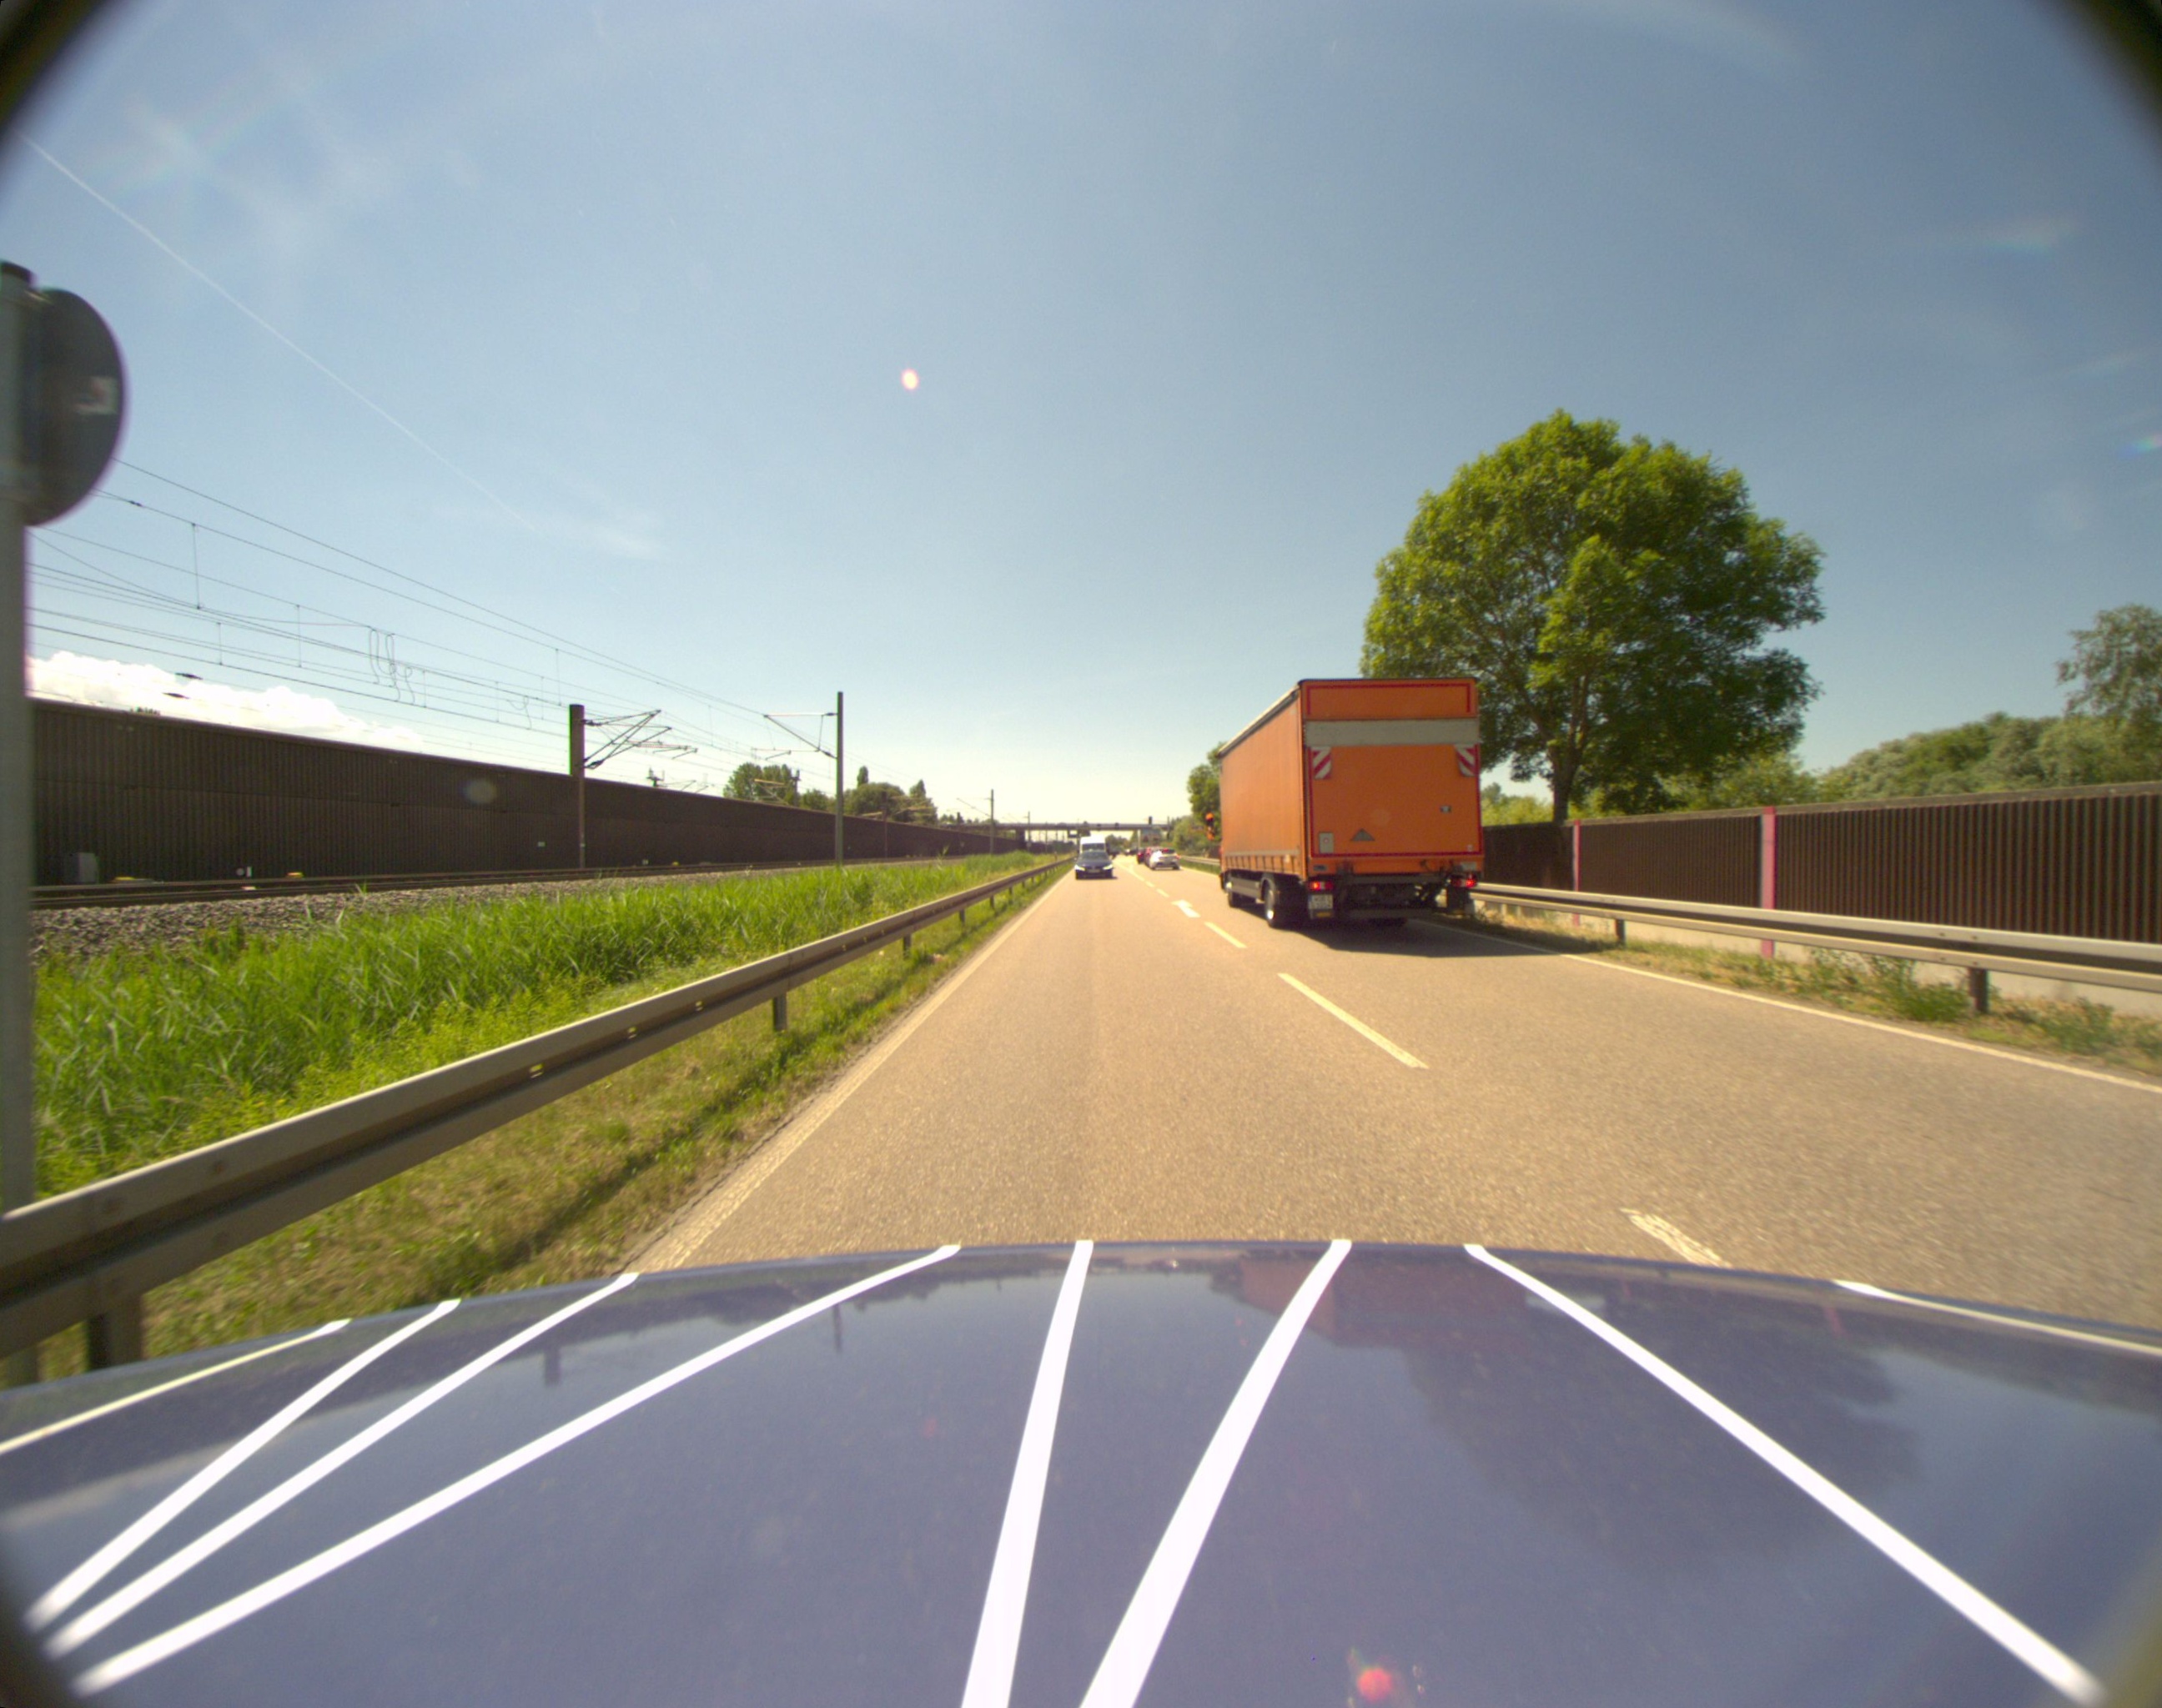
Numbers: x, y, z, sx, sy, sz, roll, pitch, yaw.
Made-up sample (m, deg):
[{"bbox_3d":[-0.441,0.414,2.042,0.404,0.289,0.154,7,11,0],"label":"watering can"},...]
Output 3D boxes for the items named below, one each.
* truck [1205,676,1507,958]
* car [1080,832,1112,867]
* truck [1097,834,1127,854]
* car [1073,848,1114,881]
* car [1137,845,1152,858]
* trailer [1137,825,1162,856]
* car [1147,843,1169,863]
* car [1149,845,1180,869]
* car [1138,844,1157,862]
[{"bbox_3d":[4.592,-0.581,15.227,2.799,3.818,9.322,-2,1,1],"label":"truck"},{"bbox_3d":[1.204,-0.324,58.269,2.227,2.480,5.983,-1,0,3],"label":"car"},{"bbox_3d":[5.122,-1.633,123.890,2.690,3.177,9.188,0,1,17],"label":"truck"},{"bbox_3d":[0.659,0.459,37.134,1.847,1.415,4.562,-1,1,2],"label":"car"},{"bbox_3d":[7.251,-0.314,86.986,1.627,1.529,4.385,0,1,6],"label":"car"},{"bbox_3d":[9.496,-1.885,106.414,2.695,4.022,14.124,-2,1,3],"label":"trailer"},{"bbox_3d":[6.553,-0.106,65.017,1.759,1.622,4.280,-1,0,5],"label":"car"},{"bbox_3d":[5.451,0.172,50.303,1.689,1.451,4.616,-2,1,2],"label":"car"},{"bbox_3d":[6.399,-0.111,73.120,1.720,1.580,4.536,-1,1,5],"label":"car"}]
